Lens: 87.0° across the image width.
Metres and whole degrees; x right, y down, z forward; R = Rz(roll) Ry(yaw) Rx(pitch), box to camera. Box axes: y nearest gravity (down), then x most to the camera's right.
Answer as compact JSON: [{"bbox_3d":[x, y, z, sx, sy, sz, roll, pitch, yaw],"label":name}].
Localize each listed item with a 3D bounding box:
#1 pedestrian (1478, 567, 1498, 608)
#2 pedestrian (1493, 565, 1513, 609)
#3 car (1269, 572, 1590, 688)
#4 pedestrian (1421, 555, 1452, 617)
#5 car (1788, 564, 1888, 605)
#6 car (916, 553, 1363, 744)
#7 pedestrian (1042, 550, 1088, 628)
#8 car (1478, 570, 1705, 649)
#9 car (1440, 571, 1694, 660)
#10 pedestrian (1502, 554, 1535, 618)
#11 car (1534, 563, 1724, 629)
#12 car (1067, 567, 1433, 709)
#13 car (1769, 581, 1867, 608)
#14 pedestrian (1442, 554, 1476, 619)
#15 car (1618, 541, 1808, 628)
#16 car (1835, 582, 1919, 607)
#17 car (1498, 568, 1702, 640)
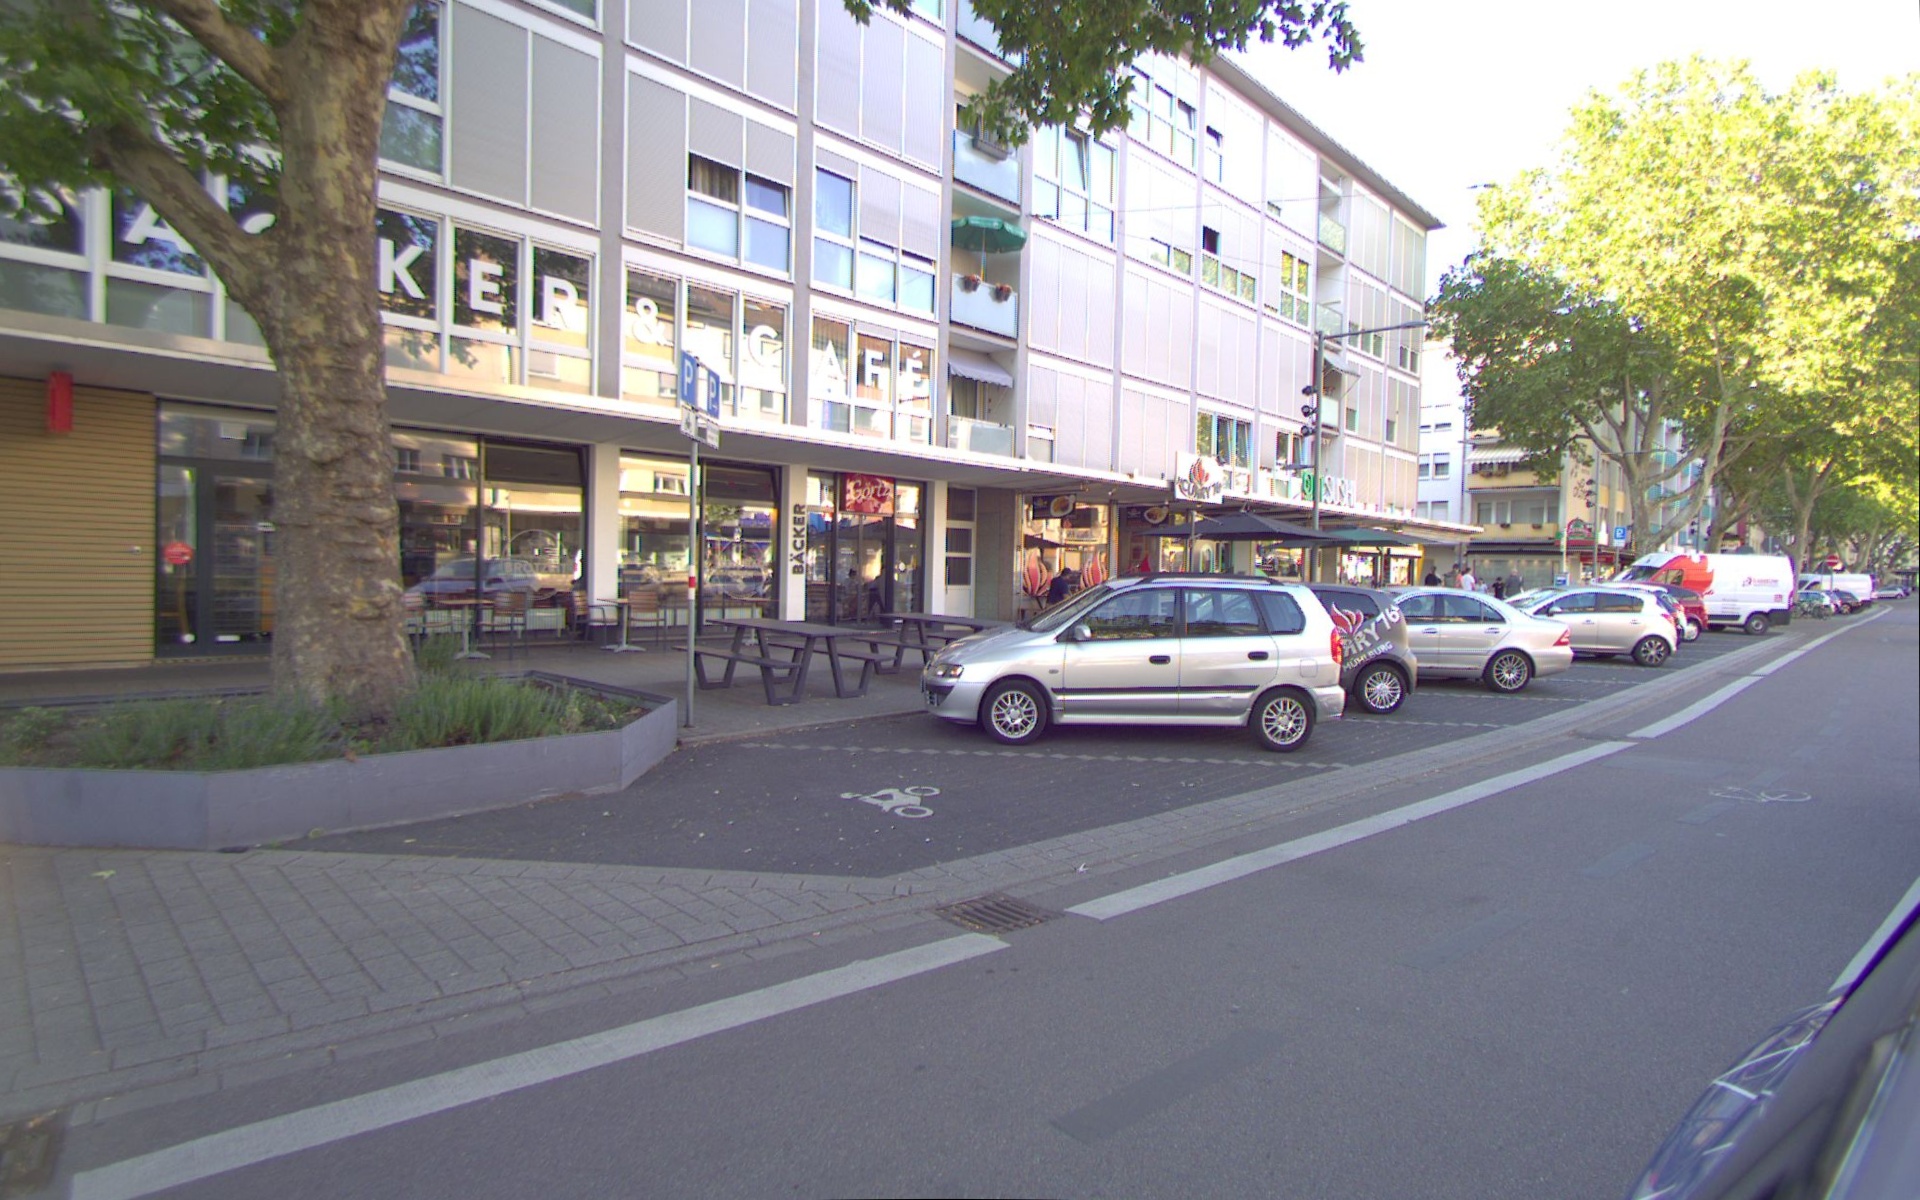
[{"bbox_3d":[21.455,-0.512,41.125,0.536,1.660,0.470,2,2,45],"label":"pedestrian"},{"bbox_3d":[21.857,-0.514,40.723,0.544,1.741,0.450,2,2,45],"label":"pedestrian"},{"bbox_3d":[6.749,0.397,14.828,3.867,1.418,1.598,2,3,1],"label":"car"},{"bbox_3d":[15.594,-0.471,33.115,0.746,2.000,0.566,3,2,45],"label":"pedestrian"},{"bbox_3d":[56.449,-1.031,65.117,4.512,2.499,1.977,1,2,3],"label":"car"},{"bbox_3d":[1.568,0.407,9.805,3.906,1.560,1.679,2,3,-3],"label":"car"},{"bbox_3d":[2.220,-0.241,21.357,0.757,1.602,0.583,0,2,-39],"label":"pedestrian"},{"bbox_3d":[13.998,0.170,22.685,3.886,1.446,1.670,3,3,16],"label":"car"},{"bbox_3d":[11.771,0.261,19.827,3.871,1.446,1.559,3,3,4],"label":"car"},{"bbox_3d":[18.205,-0.471,32.992,0.746,2.038,0.550,3,2,45],"label":"pedestrian"},{"bbox_3d":[18.088,-0.154,27.556,3.888,1.445,1.669,4,5,17],"label":"car"},{"bbox_3d":[3.389,0.413,12.298,3.864,1.446,1.679,2,3,-3],"label":"car"},{"bbox_3d":[48.070,-0.317,56.753,3.864,1.422,1.782,1,2,3],"label":"car"},{"bbox_3d":[15.943,-0.441,32.326,0.746,2.038,0.752,3,2,45],"label":"pedestrian"},{"bbox_3d":[23.751,-0.514,32.056,4.514,2.525,1.675,2,1,5],"label":"car"},{"bbox_3d":[56.329,-0.345,61.895,3.864,1.350,1.782,1,2,3],"label":"car"},{"bbox_3d":[15.858,0.052,25.292,3.888,1.445,1.669,4,5,17],"label":"car"}]
